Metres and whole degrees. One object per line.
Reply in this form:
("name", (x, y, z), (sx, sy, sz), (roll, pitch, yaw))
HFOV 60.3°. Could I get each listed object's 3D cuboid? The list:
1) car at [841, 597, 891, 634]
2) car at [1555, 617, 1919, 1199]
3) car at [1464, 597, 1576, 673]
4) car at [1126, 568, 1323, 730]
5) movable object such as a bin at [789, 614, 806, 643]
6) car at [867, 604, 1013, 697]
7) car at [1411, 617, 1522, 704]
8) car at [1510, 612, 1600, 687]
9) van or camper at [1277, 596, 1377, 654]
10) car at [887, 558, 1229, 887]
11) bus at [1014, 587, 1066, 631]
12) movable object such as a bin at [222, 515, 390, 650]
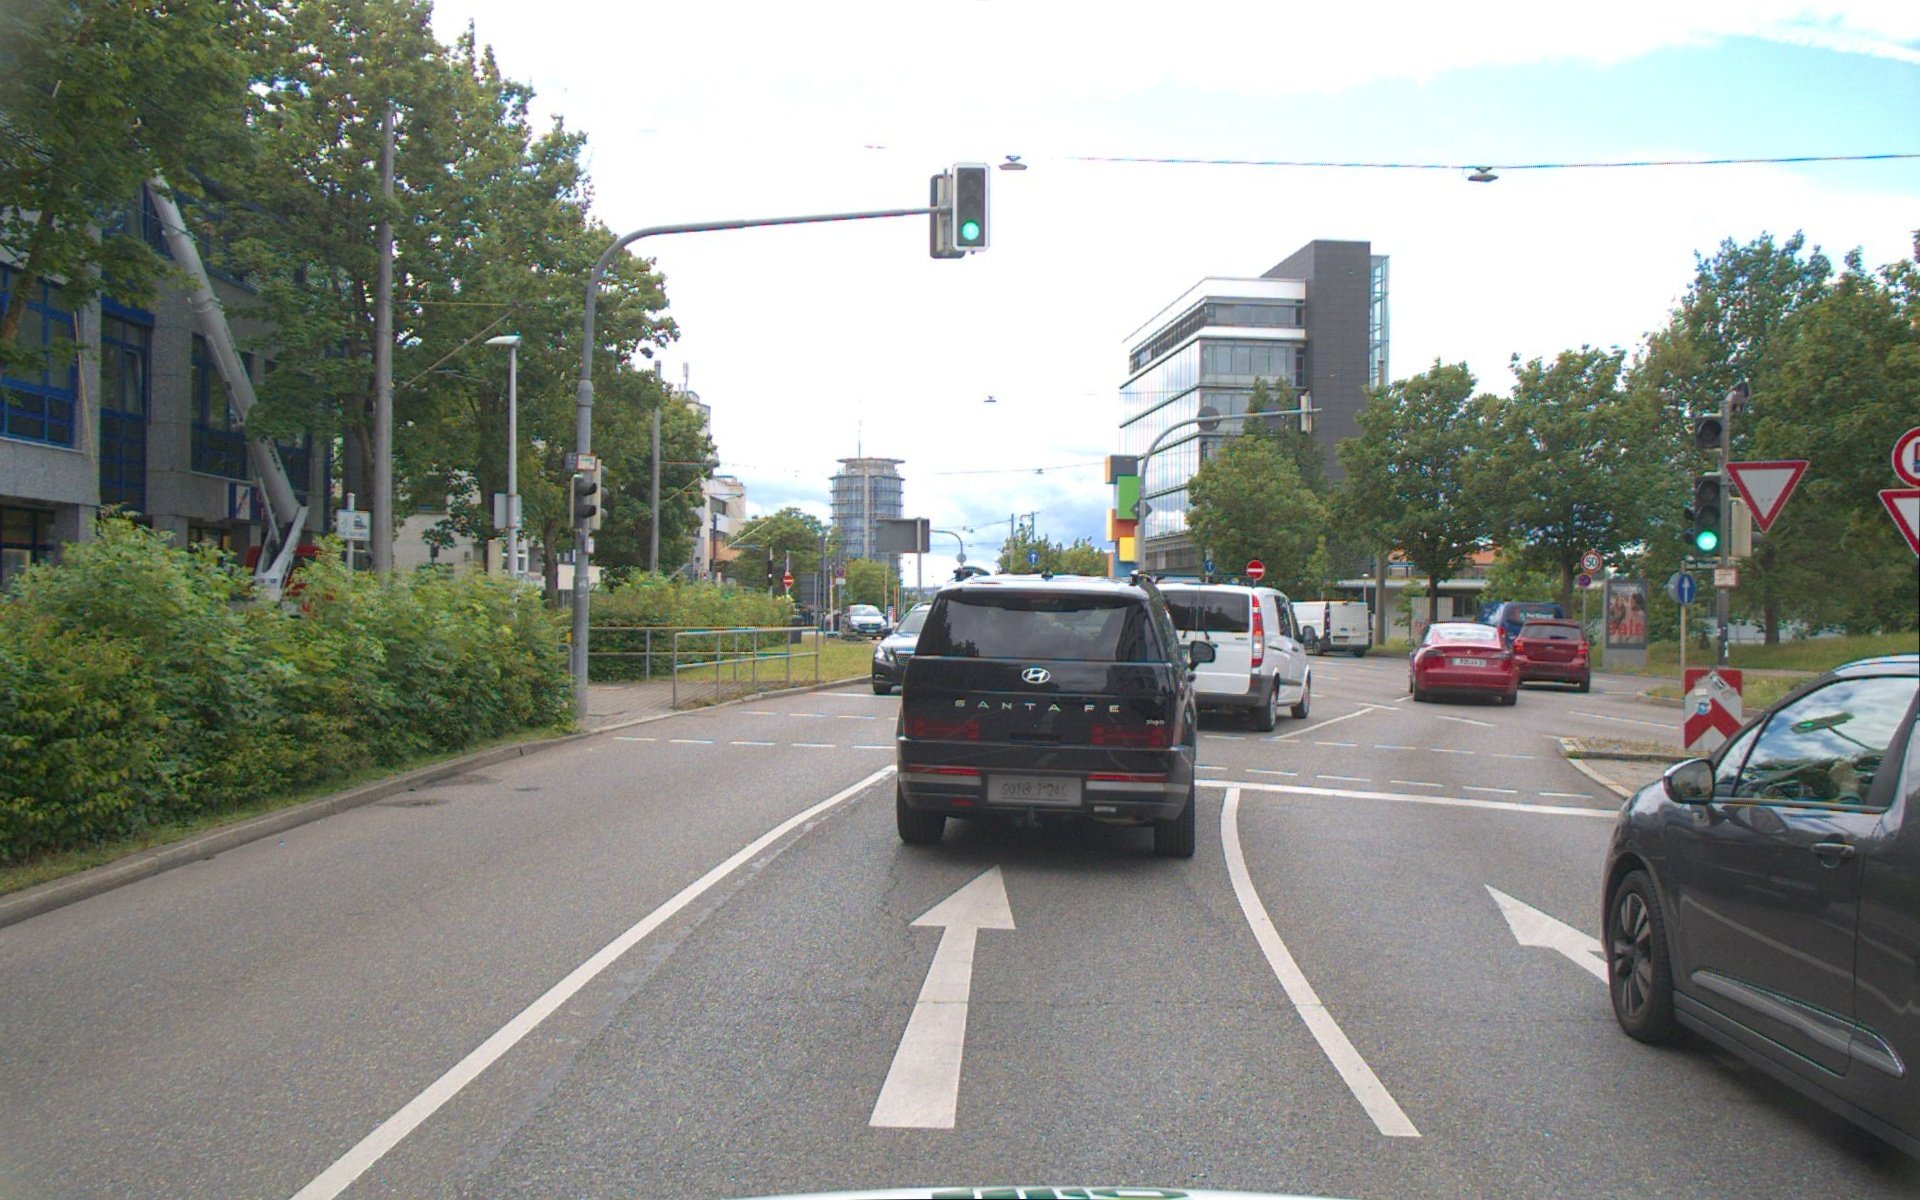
("car", (-4.387, 0.705, 76.939), (1.751, 1.564, 4.385), (2, 1, -10))
("car", (3.281, 0.840, 4.915), (1.665, 1.486, 4.063), (2, 0, 2))
("car", (15.301, 0.915, 45.431), (1.862, 1.891, 4.712), (2, 0, 6))
("car", (3.857, 0.646, 23.412), (1.863, 2.003, 4.636), (2, 0, 20))
("movable object such as a bin", (-6.008, 1.047, 61.109), (0.553, 1.030, 0.836), (1, 0, -11))
("car", (-0.244, 0.812, 28.638), (1.806, 1.462, 4.709), (0, 0, 8))
("car", (9.487, 1.079, 31.223), (1.833, 1.443, 4.445), (2, 0, 16))
("car", (13.064, 1.053, 36.454), (1.708, 1.507, 3.720), (2, 0, 18))
("van or camper", (13.424, 0.870, 60.812), (1.958, 1.951, 4.397), (1, 1, -11))
("car", (0.795, 0.684, 11.481), (1.862, 1.762, 4.449), (2, 0, 7))
("bus", (5.994, 0.740, 125.800), (2.908, 3.171, 9.236), (-1, -1, -4))
("movable object such as a bin", (-13.756, -0.364, 35.068), (1.867, 2.575, 4.126), (3, 0, -2))
